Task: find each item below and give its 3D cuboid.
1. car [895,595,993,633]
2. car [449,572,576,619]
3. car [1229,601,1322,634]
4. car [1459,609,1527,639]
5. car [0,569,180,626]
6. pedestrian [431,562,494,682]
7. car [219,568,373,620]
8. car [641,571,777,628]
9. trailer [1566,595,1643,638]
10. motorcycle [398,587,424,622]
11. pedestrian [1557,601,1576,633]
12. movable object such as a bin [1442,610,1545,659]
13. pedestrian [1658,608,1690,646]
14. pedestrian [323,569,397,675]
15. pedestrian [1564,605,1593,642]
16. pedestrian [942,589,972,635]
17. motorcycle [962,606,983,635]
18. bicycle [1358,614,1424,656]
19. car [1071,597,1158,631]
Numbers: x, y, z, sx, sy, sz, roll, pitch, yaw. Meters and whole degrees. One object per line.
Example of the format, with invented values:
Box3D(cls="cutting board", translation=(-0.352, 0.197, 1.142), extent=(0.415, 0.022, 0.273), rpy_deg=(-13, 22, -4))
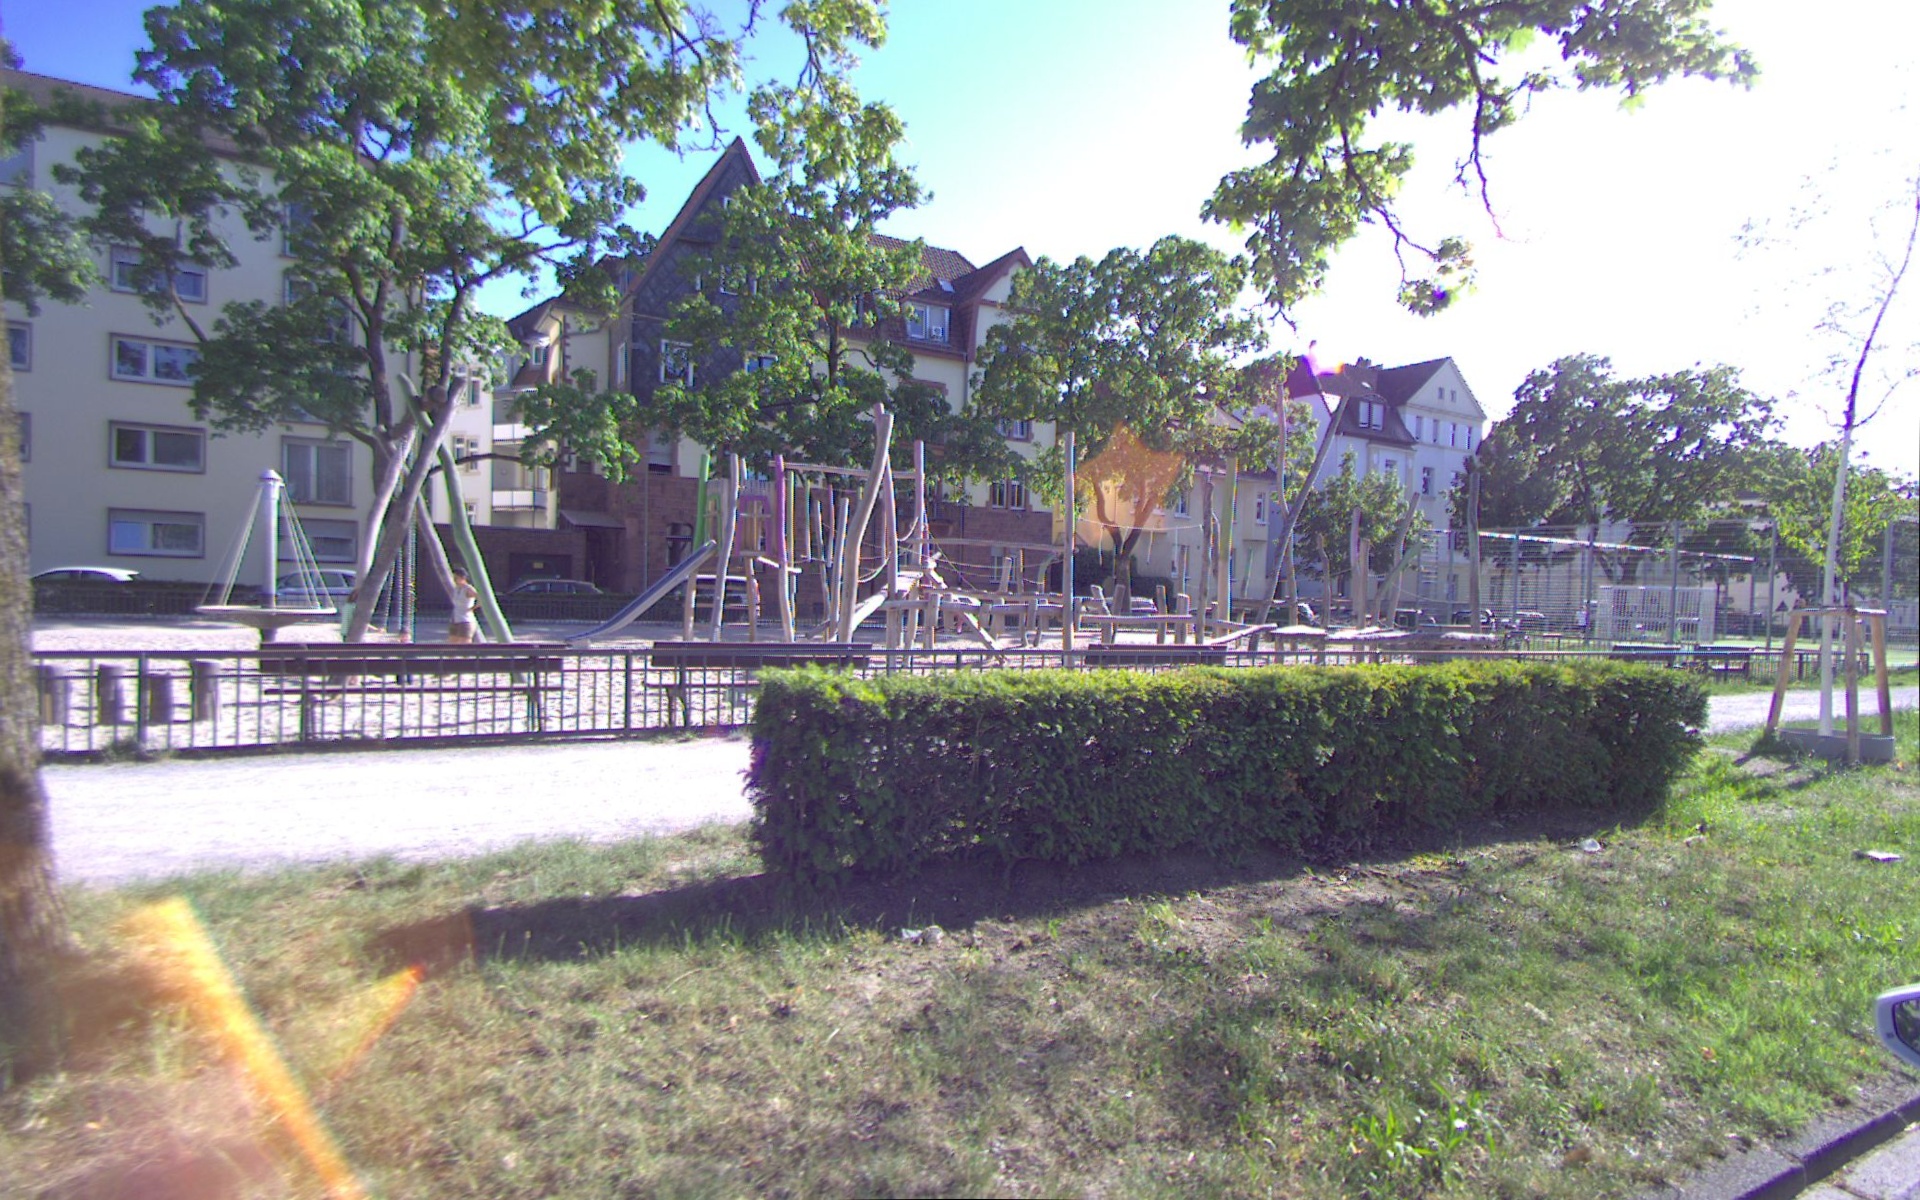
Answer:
Box3D(cls="car", translation=(-0.689, 0.632, 44.581), extent=(3.952, 1.530, 1.786), rpy_deg=(1, 1, -30))
Box3D(cls="car", translation=(-15.798, -0.162, 35.469), extent=(3.952, 1.530, 1.786), rpy_deg=(1, 1, -30))
Box3D(cls="car", translation=(17.258, 0.964, 54.838), extent=(5.121, 1.674, 1.872), rpy_deg=(1, 1, -30))
Box3D(cls="car", translation=(34.644, 1.585, 65.220), extent=(4.435, 1.801, 1.786), rpy_deg=(1, 1, -30))
Box3D(cls="car", translation=(-25.976, -0.063, 29.406), extent=(4.710, 1.530, 1.896), rpy_deg=(1, 1, -31))
Box3D(cls="pedestrian", translation=(-7.204, 0.309, 14.558), extent=(0.639, 1.683, 0.649), rpy_deg=(2, 1, -12))
Box3D(cls="car", translation=(-21.118, -0.198, 32.166), extent=(3.952, 1.530, 1.786), rpy_deg=(1, 1, -30))
Box3D(cls="car", translation=(-9.661, -0.006, 38.813), extent=(4.778, 2.009, 1.786), rpy_deg=(1, 1, -30))
Box3D(cls="trailer", translation=(46.838, 1.217, 72.987), extent=(5.735, 2.909, 2.331), rpy_deg=(1, 1, -31))
Box3D(cls="motorcycle", translation=(-18.489, 0.137, 33.820), extent=(0.495, 1.122, 1.781), rpy_deg=(1, 1, -37))
Box3D(cls="pedestrian", translation=(32.542, 0.920, 53.880), extent=(0.642, 1.683, 0.645), rpy_deg=(1, 0, -29))
Box3D(cls="movable object such as a bin", translation=(14.805, 0.936, 27.951), extent=(1.045, 1.258, 2.316), rpy_deg=(1, 0, -33))
Box3D(cls="pedestrian", translation=(25.525, 0.959, 35.915), extent=(0.637, 1.336, 0.650), rpy_deg=(2, 1, 0))
Box3D(cls="pedestrian", translation=(-7.926, 0.282, 13.294), extent=(0.639, 1.347, 0.649), rpy_deg=(2, 1, -12))
Box3D(cls="pedestrian", translation=(23.210, 0.882, 37.705), extent=(0.637, 1.336, 0.650), rpy_deg=(2, 1, 0))
Box3D(cls="pedestrian", translation=(-0.089, 0.354, 30.040), extent=(0.643, 1.336, 0.644), rpy_deg=(1, 1, -33))
Box3D(cls="motorcycle", translation=(0.371, 0.625, 30.386), extent=(0.281, 0.838, 0.698), rpy_deg=(1, 1, -31))
Box3D(cls="bicycle", translation=(12.487, 0.996, 29.140), extent=(0.494, 1.122, 1.785), rpy_deg=(1, 1, -31))
Box3D(cls="car", translation=(7.591, 0.712, 49.290), extent=(3.952, 1.530, 1.786), rpy_deg=(1, 1, -30))
